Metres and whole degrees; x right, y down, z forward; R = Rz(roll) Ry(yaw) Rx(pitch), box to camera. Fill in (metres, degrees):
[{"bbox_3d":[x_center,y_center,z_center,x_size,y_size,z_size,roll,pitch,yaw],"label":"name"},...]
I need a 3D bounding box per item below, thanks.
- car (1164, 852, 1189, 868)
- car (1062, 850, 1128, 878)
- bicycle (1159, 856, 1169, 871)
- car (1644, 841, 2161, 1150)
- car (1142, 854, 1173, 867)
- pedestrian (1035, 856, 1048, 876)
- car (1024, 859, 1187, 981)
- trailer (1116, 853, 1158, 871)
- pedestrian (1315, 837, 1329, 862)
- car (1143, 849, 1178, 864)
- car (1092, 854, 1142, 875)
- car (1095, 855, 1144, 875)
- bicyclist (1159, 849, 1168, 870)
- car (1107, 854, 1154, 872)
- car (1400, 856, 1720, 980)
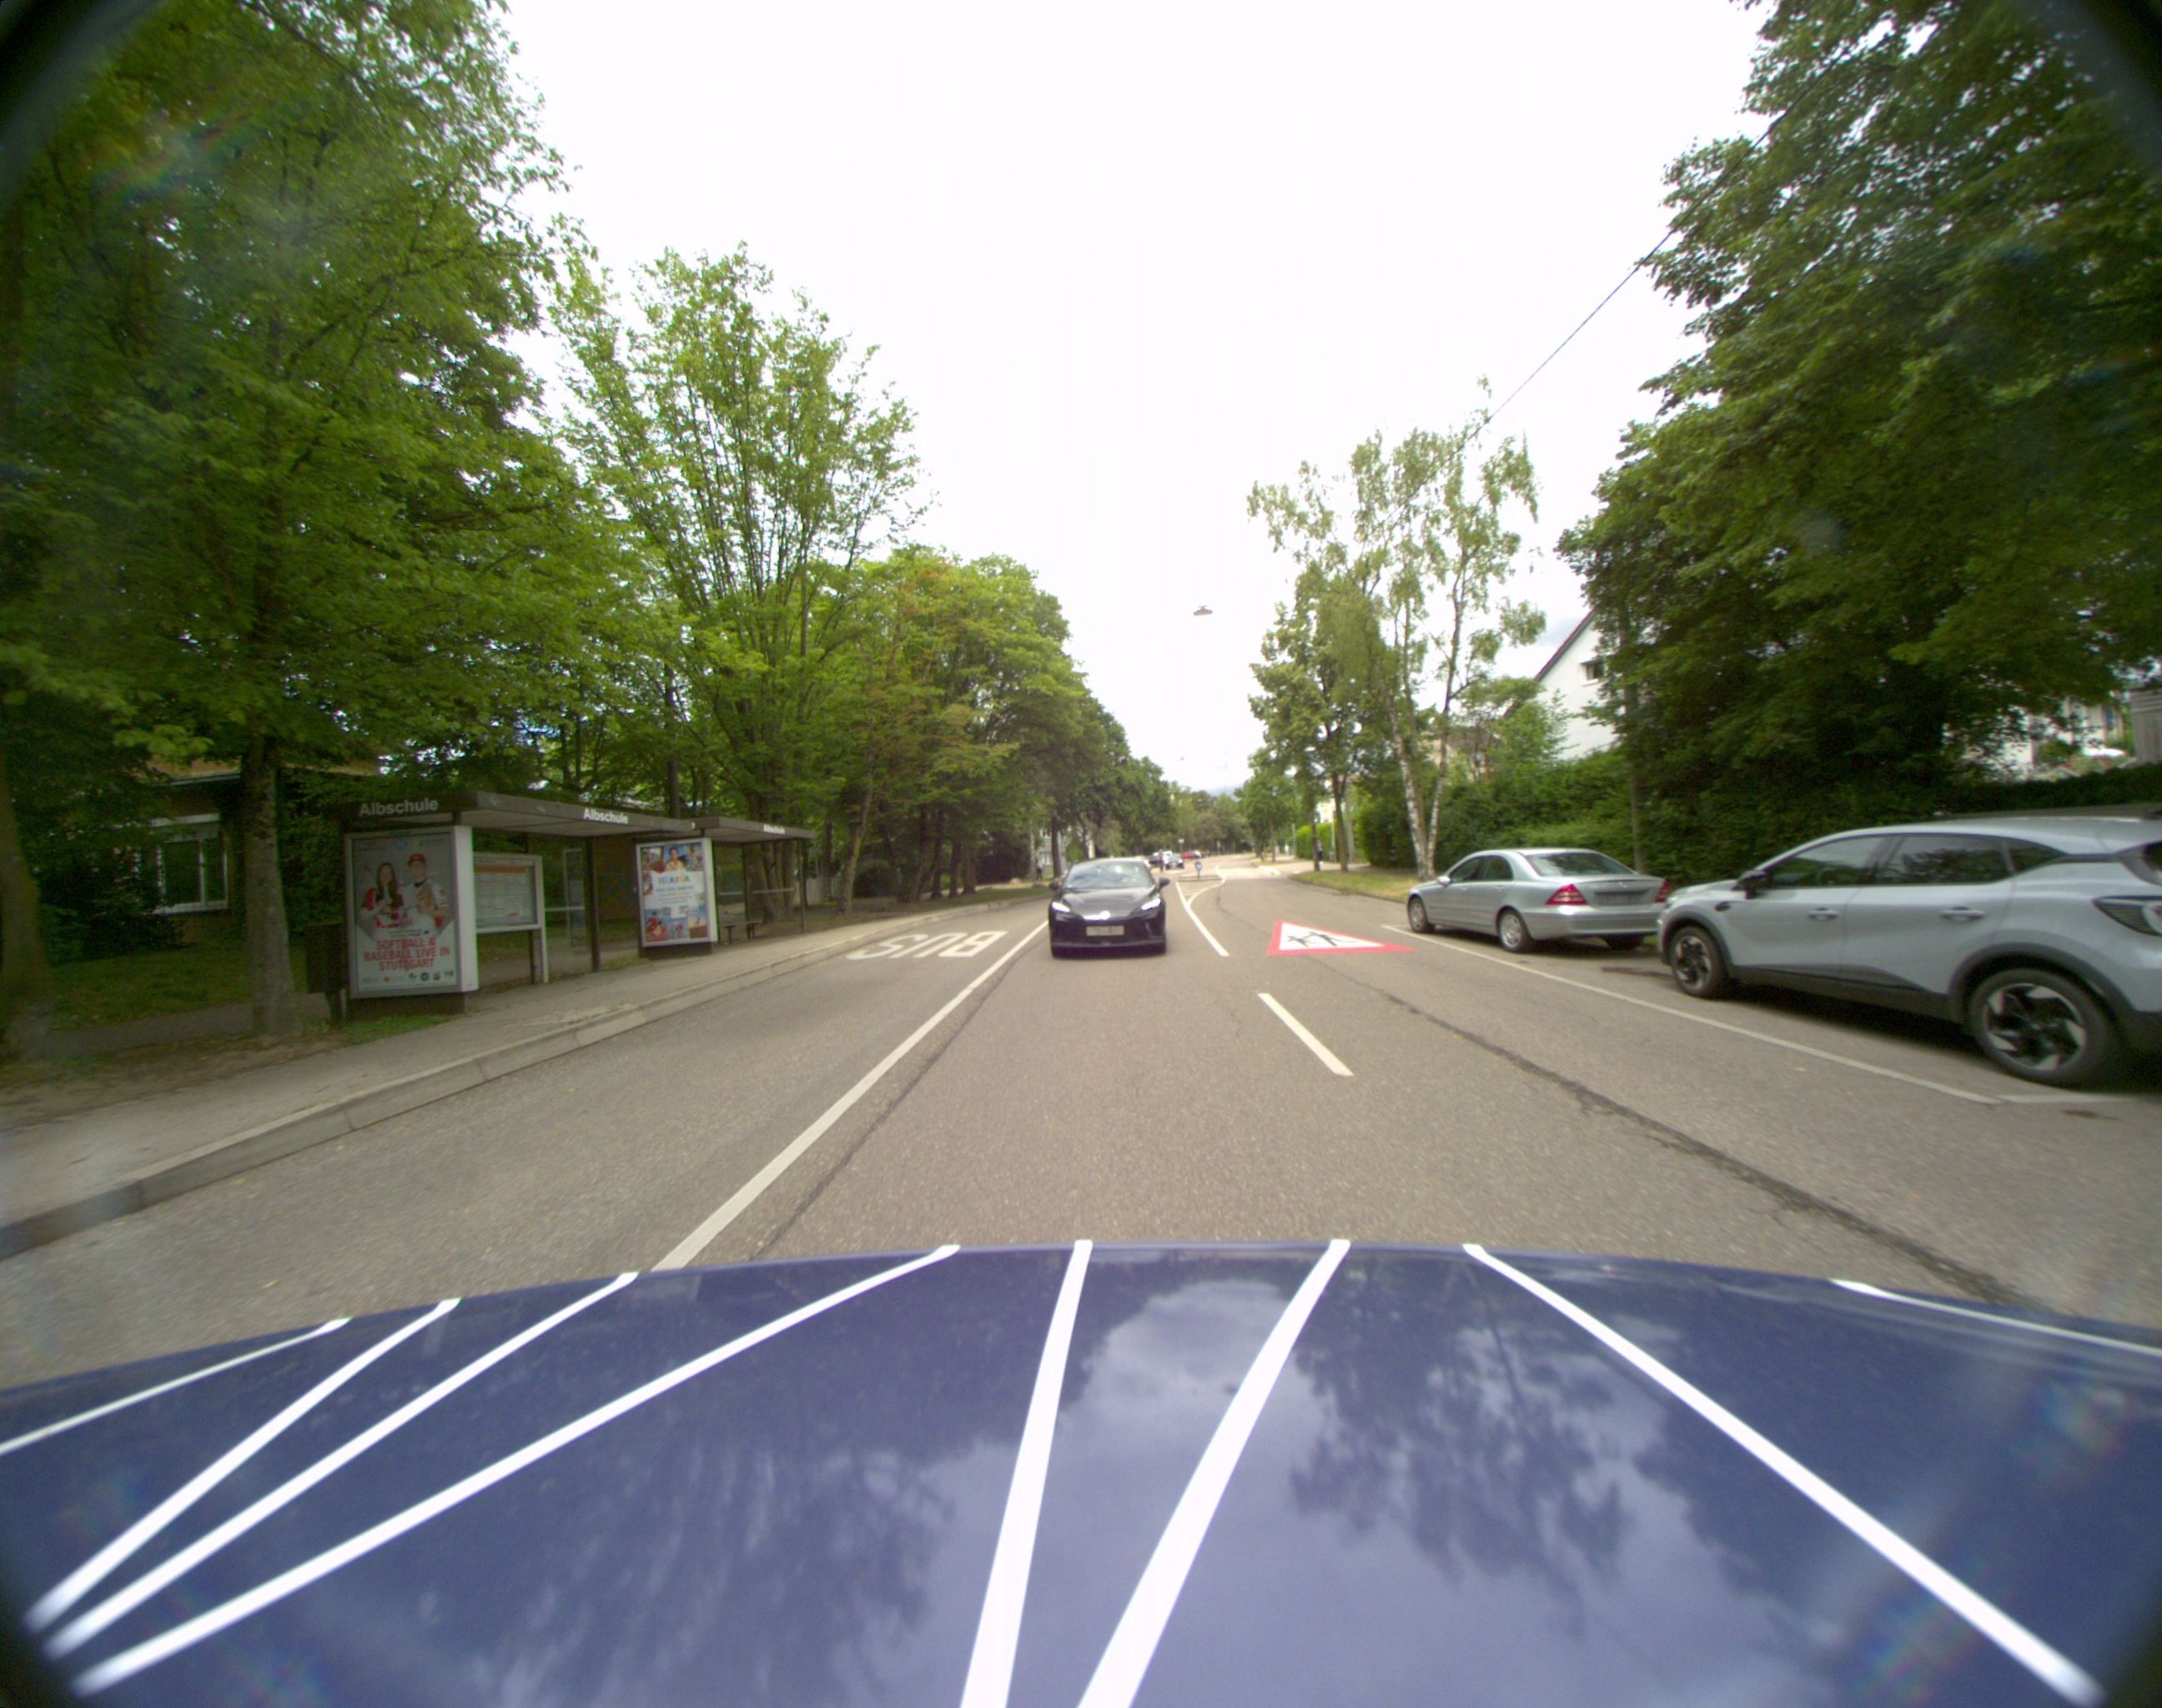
[{"bbox_3d":[9.353,0.606,74.381,1.859,1.366,4.080,-4,0,14],"label":"car"},{"bbox_3d":[0.934,0.668,53.700,4.480,1.576,1.839,-5,0,-1],"label":"car"},{"bbox_3d":[6.987,0.768,63.921,0.647,1.230,1.877,-3,0,3],"label":"bicycle"},{"bbox_3d":[6.412,0.704,5.500,1.739,1.529,4.190,-2,0,4],"label":"car"},{"bbox_3d":[10.091,0.856,100.659,3.855,1.430,1.715,-5,0,-1],"label":"car"},{"bbox_3d":[-3.294,0.996,63.746,0.692,1.634,0.779,-4,0,32],"label":"pedestrian"},{"bbox_3d":[0.566,0.915,12.028,1.811,1.484,3.796,-3,0,13],"label":"car"},{"bbox_3d":[5.690,0.777,77.201,3.998,1.543,1.658,-4,0,-5],"label":"trailer"},{"bbox_3d":[17.372,-0.329,54.801,0.693,1.700,0.778,-4,0,4],"label":"pedestrian"},{"bbox_3d":[10.834,0.361,103.662,4.222,1.748,1.857,-5,0,-11],"label":"car"},{"bbox_3d":[3.124,0.916,66.278,4.000,1.455,1.864,-5,0,-11],"label":"car"},{"bbox_3d":[3.464,0.972,68.835,4.000,1.455,1.794,-5,0,-11],"label":"car"},{"bbox_3d":[7.003,0.484,64.500,0.647,1.768,0.628,-3,1,2],"label":"bicyclist"},{"bbox_3d":[4.833,0.872,74.288,4.002,1.455,1.848,-5,0,-18],"label":"car"},{"bbox_3d":[6.599,0.762,11.191,1.740,1.408,4.471,-2,0,-2],"label":"car"}]
